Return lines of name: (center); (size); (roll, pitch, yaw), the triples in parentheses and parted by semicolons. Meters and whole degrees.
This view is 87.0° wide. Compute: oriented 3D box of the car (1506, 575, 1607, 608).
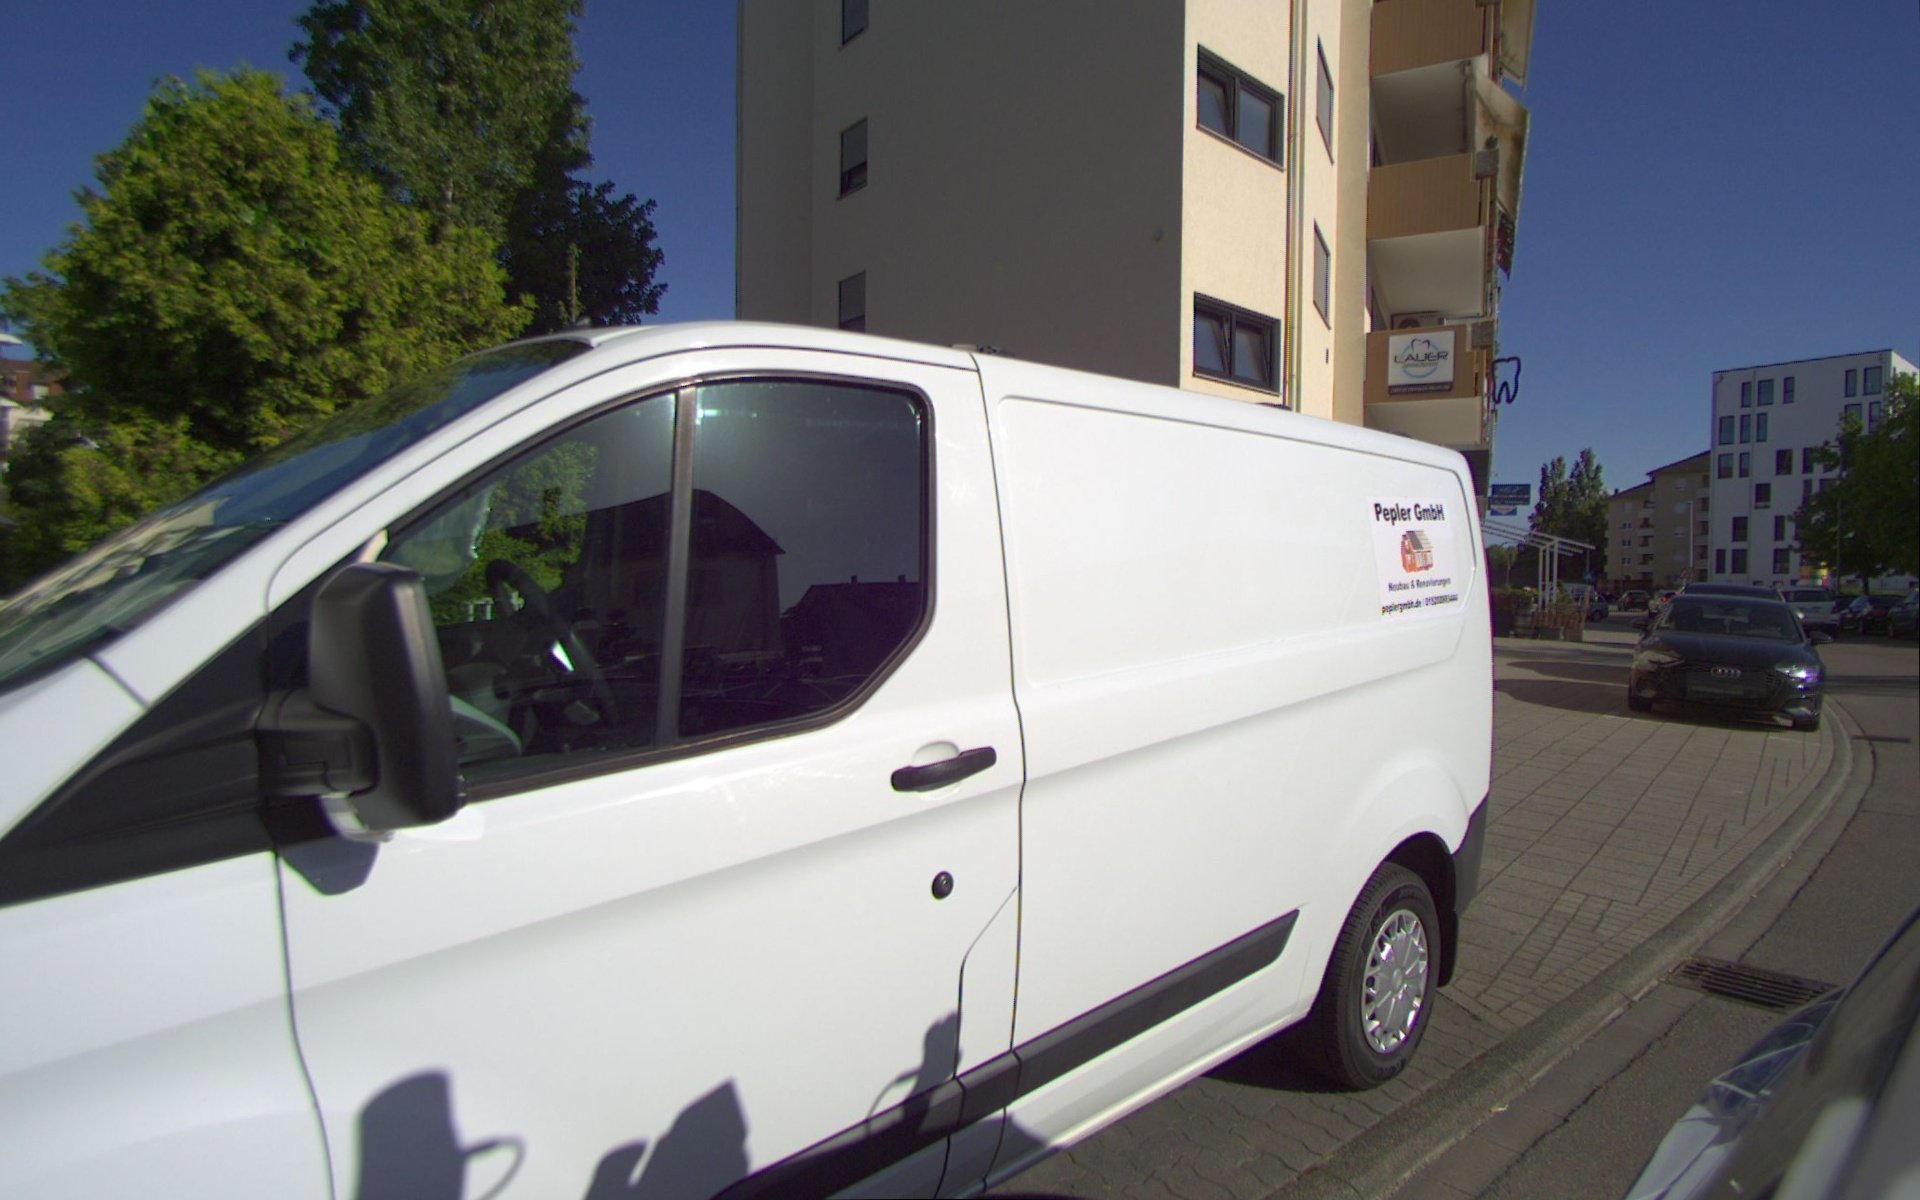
car: (33.727, -0.508, 57.274); (4.734, 1.758, 2.143); (-1, 0, -13)

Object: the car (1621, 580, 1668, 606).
car: (47.751, -0.485, 70.717); (2.119, 1.758, 4.790); (-1, 0, 27)

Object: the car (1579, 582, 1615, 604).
car: (54.495, -0.621, 86.628); (2.118, 1.758, 4.790); (-1, 0, 27)

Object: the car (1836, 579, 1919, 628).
car: (33.447, 0.099, 36.175); (2.118, 1.634, 4.790); (-1, 0, 27)

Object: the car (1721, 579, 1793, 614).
car: (42.740, -0.210, 54.374); (2.118, 1.833, 4.790); (-1, 0, 27)

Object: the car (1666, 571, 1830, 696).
car: (12.573, 0.431, 16.175); (1.751, 1.632, 3.944); (6, 4, 39)

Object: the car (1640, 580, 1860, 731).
car: (9.518, 0.527, 12.382); (1.749, 1.411, 3.948); (6, 4, 36)

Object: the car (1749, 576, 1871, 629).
car: (30.334, 0.066, 36.296); (2.116, 1.758, 4.795); (-1, 0, 25)

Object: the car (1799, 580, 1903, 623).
car: (36.034, 0.019, 41.078); (2.118, 1.634, 4.420); (-1, 0, 27)

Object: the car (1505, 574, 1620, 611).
car: (30.148, -0.396, 50.685); (4.734, 1.758, 2.143); (-1, 0, -13)

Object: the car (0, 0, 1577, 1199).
car: (-0.328, 0.289, 2.778); (4.713, 2.038, 1.998); (0, 4, -41)

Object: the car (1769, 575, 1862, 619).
car: (38.307, -0.151, 45.479); (2.118, 1.833, 4.790); (-1, 0, 27)

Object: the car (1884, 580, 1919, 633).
car: (30.965, 0.175, 31.409); (2.118, 1.634, 4.790); (-1, 0, 27)

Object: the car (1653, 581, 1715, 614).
car: (40.359, -0.143, 56.543); (2.118, 1.758, 4.790); (-1, 0, 27)
